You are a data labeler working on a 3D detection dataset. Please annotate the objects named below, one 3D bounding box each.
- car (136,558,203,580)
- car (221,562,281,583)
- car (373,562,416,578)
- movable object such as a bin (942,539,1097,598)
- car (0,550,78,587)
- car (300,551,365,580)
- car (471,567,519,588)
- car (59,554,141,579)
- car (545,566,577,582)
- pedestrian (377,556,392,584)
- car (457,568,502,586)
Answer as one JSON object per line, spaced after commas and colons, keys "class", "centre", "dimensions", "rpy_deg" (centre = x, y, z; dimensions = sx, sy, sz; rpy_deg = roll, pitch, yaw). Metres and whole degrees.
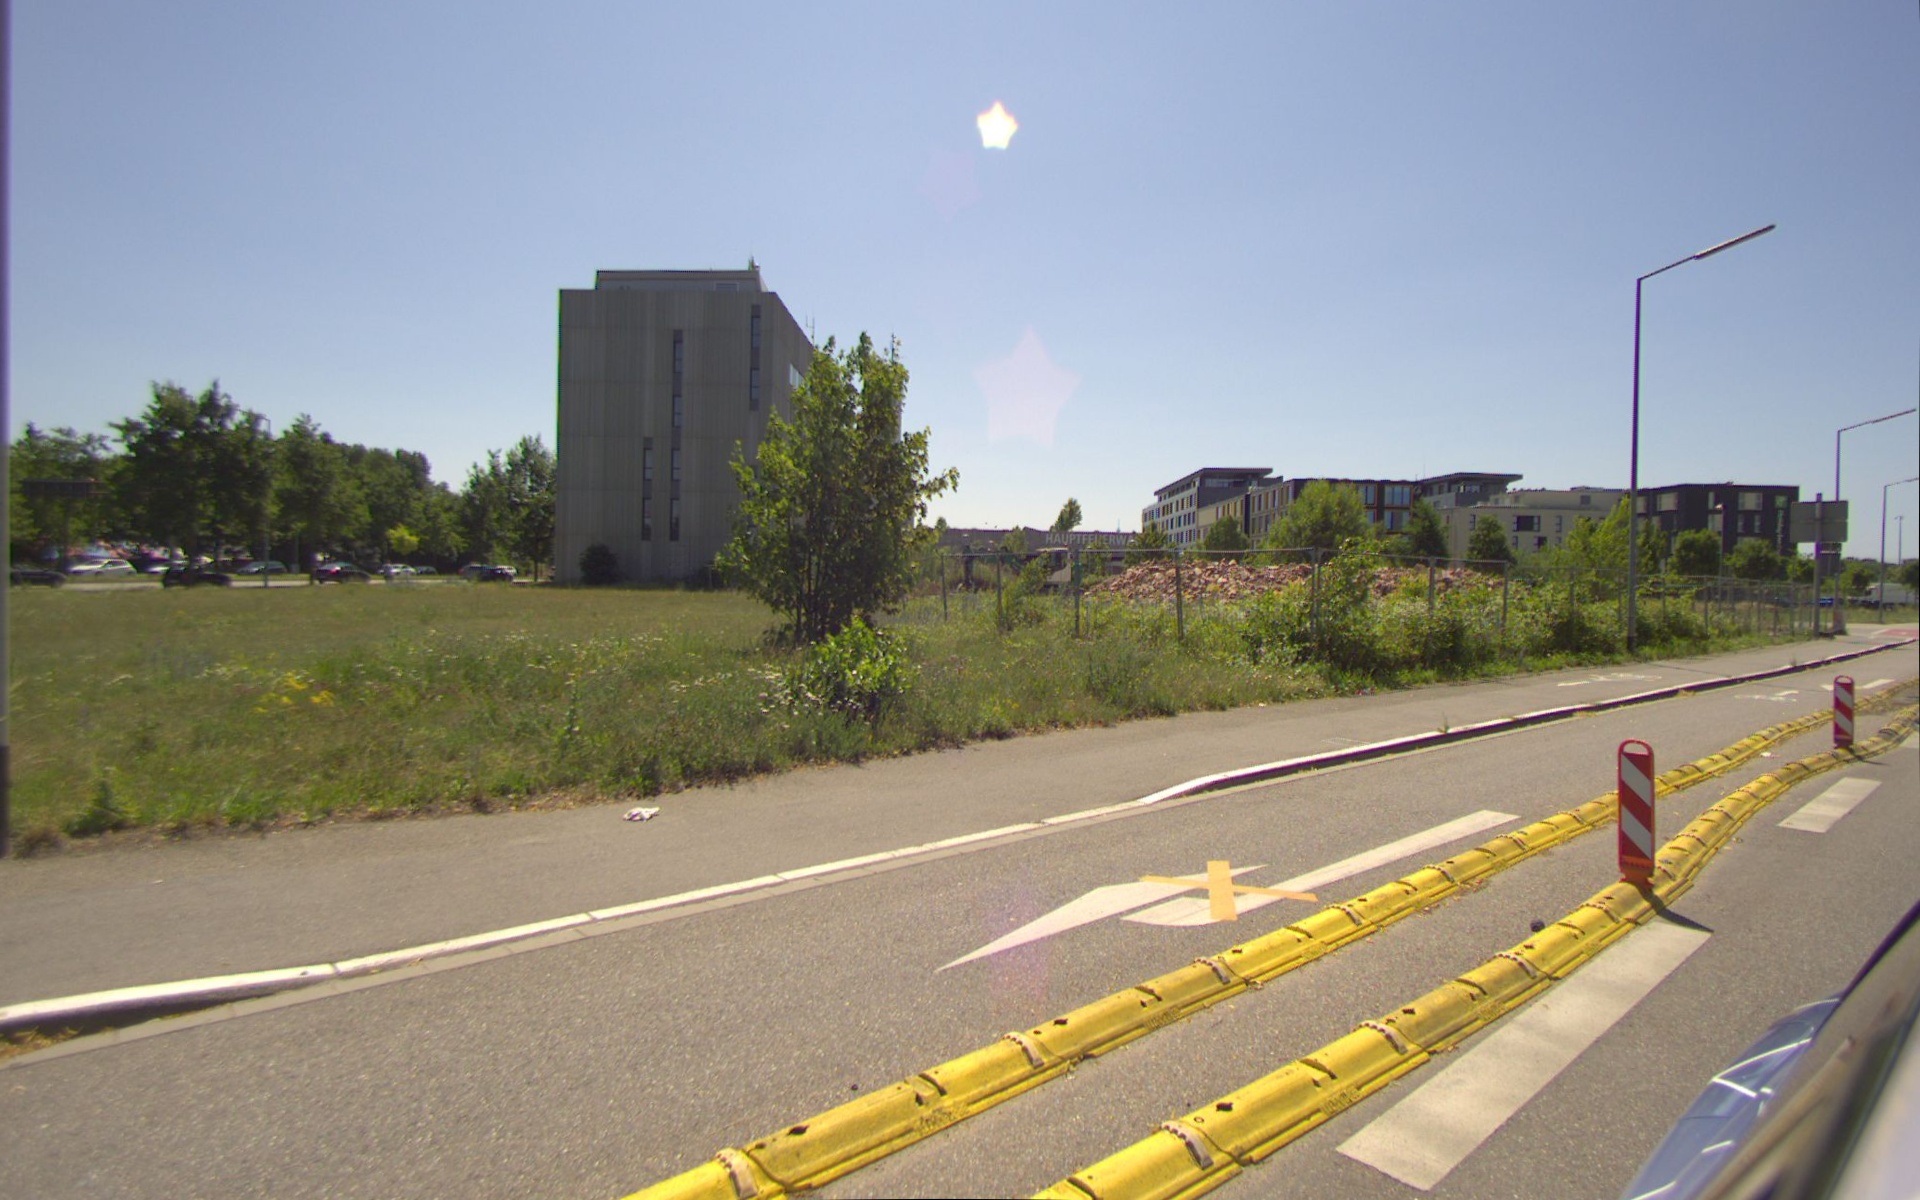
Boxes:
{"class": "car", "centre": [-62.053, -2.436, 79.532], "dimensions": [1.814, 1.611, 4.444], "rpy_deg": [1, 1, 1]}
{"class": "car", "centre": [-58.892, -2.267, 84.166], "dimensions": [1.814, 1.612, 4.443], "rpy_deg": [0, 0, 1]}
{"class": "car", "centre": [-58.006, -3.068, 103.886], "dimensions": [1.814, 1.612, 4.443], "rpy_deg": [0, 0, 1]}
{"class": "movable object such as a bin", "centre": [3.169, -1.597, 53.329], "dimensions": [7.537, 2.952, 3.242], "rpy_deg": [-1, 0, -26]}
{"class": "car", "centre": [-46.908, -1.513, 50.203], "dimensions": [1.960, 1.757, 5.334], "rpy_deg": [0, 0, -4]}
{"class": "car", "centre": [-45.535, -2.473, 73.587], "dimensions": [1.961, 1.961, 4.645], "rpy_deg": [0, 0, -1]}
{"class": "car", "centre": [-41.736, -2.010, 90.934], "dimensions": [1.964, 1.757, 4.639], "rpy_deg": [0, 0, 4]}
{"class": "car", "centre": [-58.909, -2.261, 69.431], "dimensions": [1.814, 1.612, 4.443], "rpy_deg": [0, 0, 1]}
{"class": "car", "centre": [-46.695, -3.045, 118.437], "dimensions": [1.962, 1.757, 4.645], "rpy_deg": [0, 0, -1]}
{"class": "pedestrian", "centre": [-34.017, -1.762, 59.814], "dimensions": [0.652, 1.611, 0.557], "rpy_deg": [0, 0, -15]}
{"class": "car", "centre": [-47.243, -2.252, 99.631], "dimensions": [1.964, 1.757, 4.639], "rpy_deg": [0, 0, 4]}
